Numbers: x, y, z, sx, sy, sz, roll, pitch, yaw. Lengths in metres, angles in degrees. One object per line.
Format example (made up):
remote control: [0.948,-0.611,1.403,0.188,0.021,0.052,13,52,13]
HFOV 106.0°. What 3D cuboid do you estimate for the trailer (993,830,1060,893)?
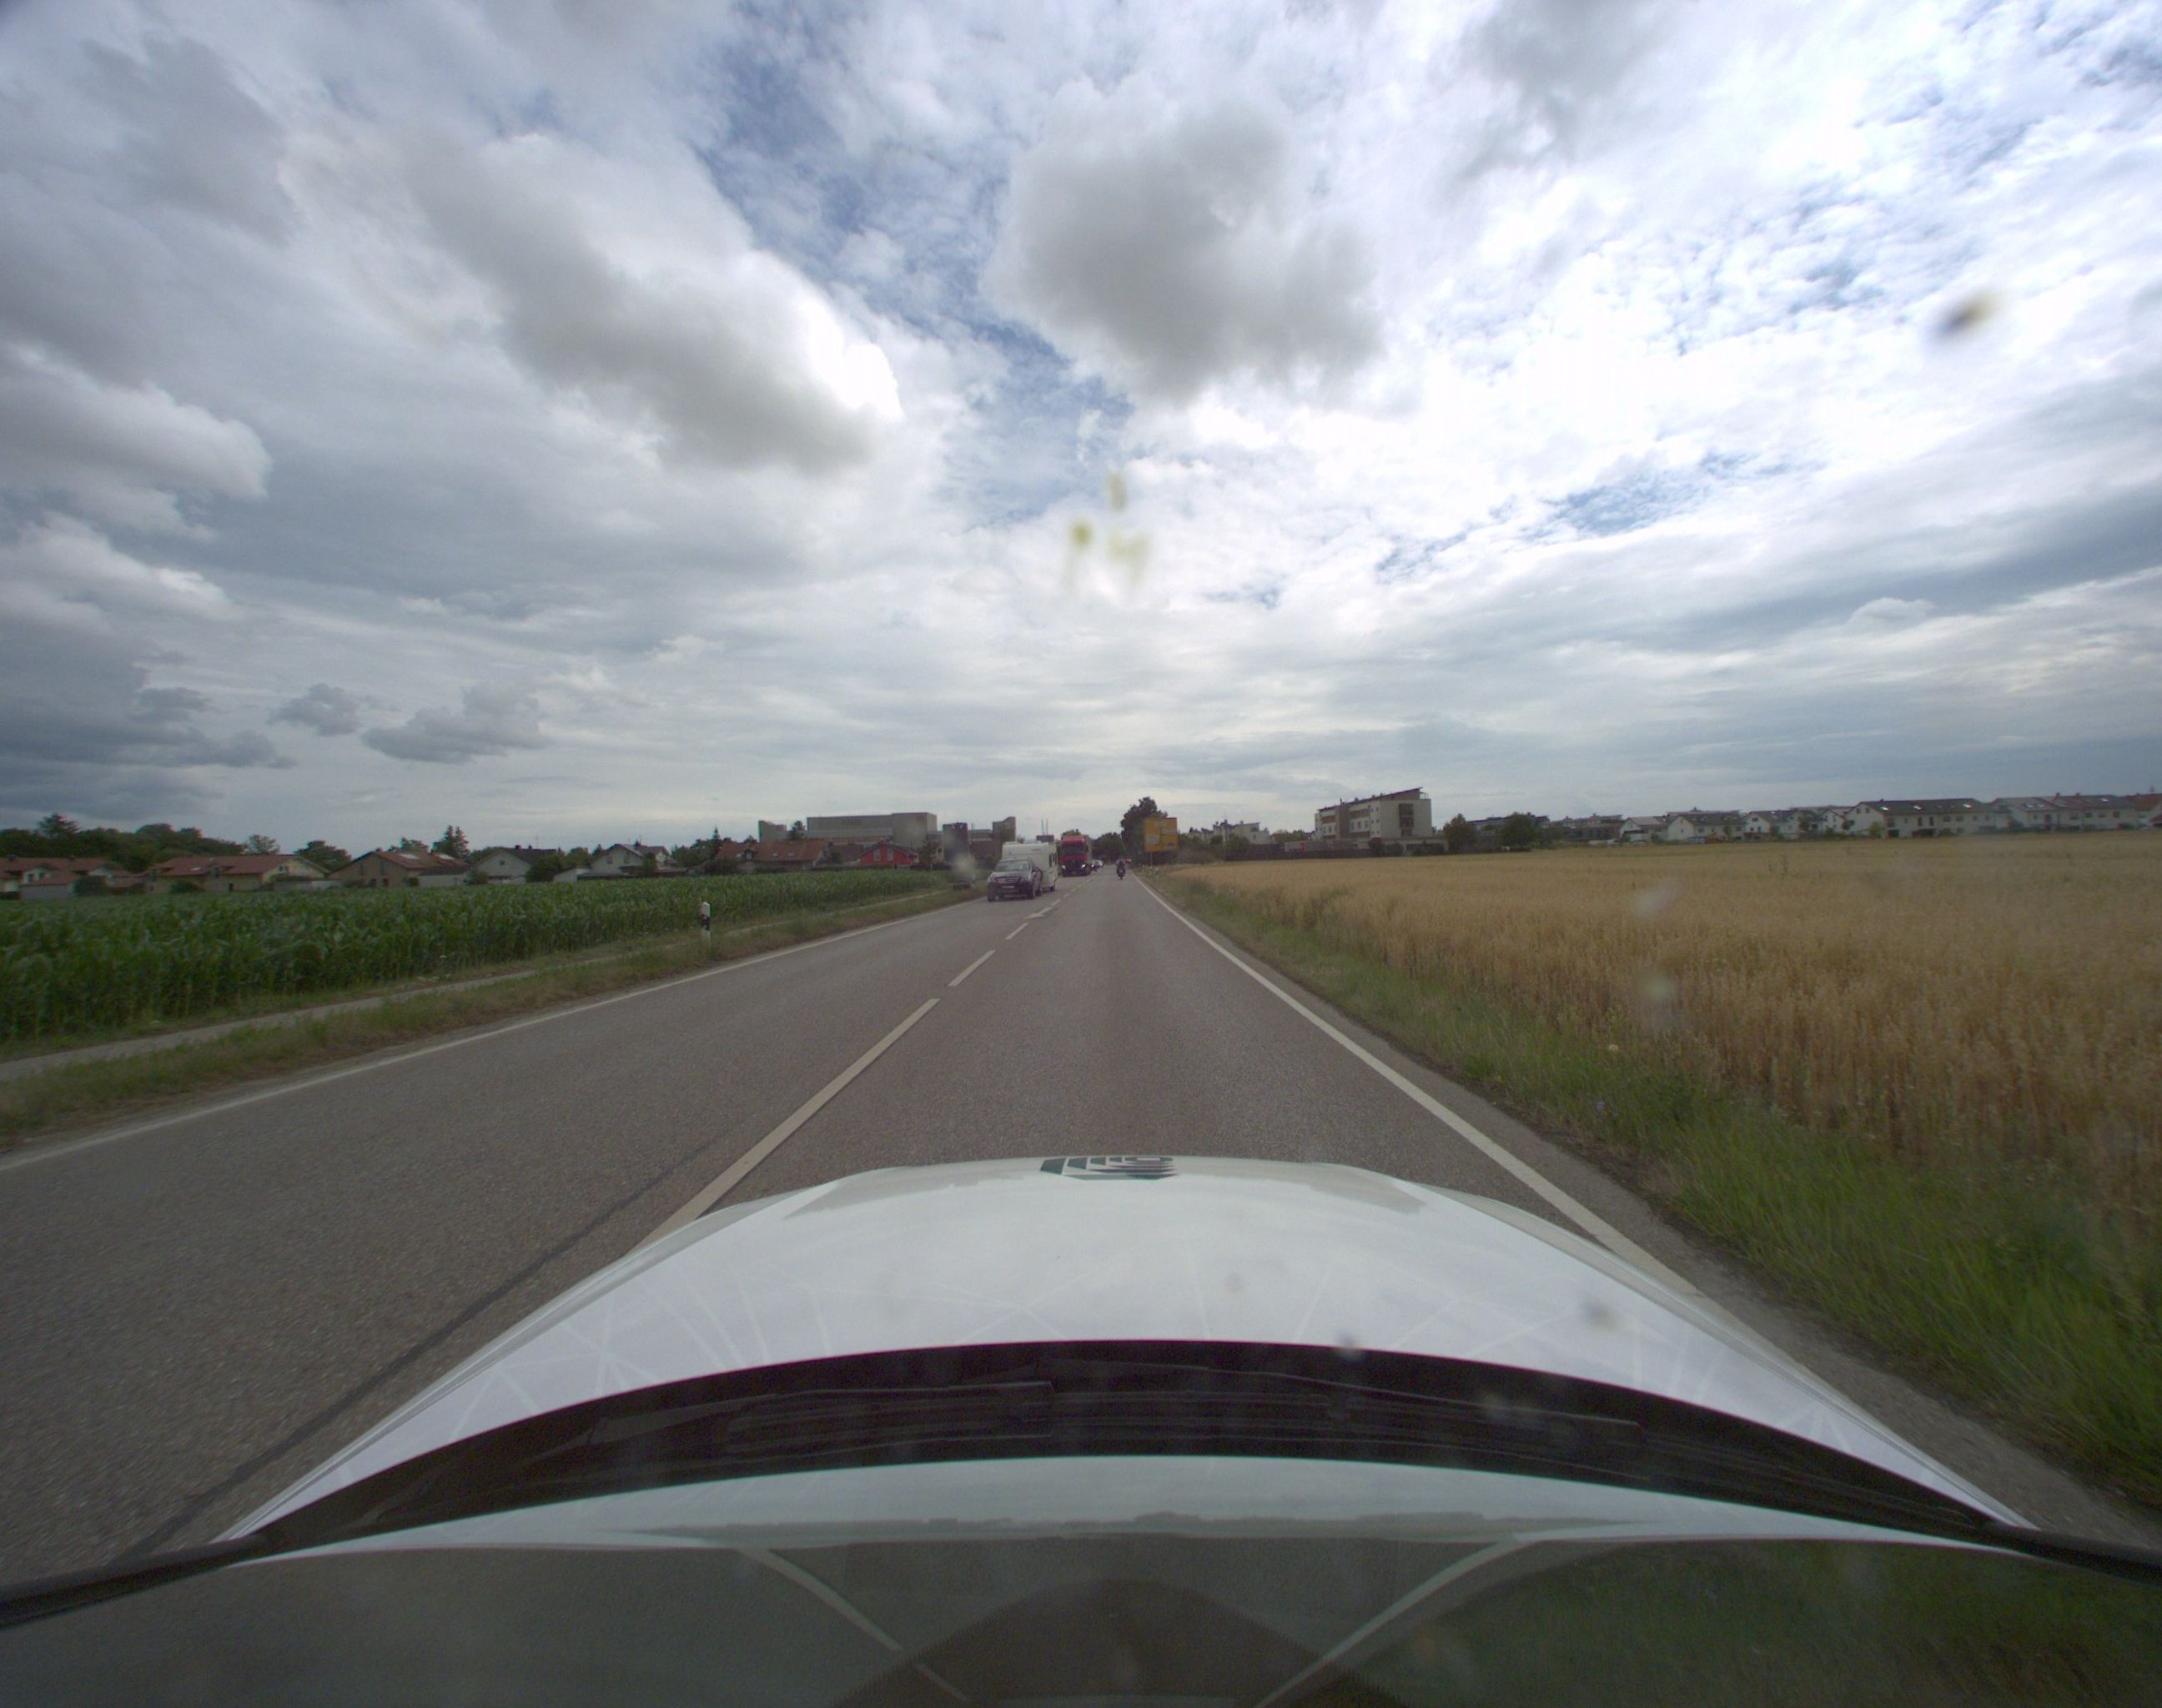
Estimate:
trailer: [-2.542,0.389,40.541,2.314,2.729,7.848,-2,-1,3]

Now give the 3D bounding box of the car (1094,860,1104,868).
car: [3.626,2.057,162.066,1.848,1.473,4.000,-2,-1,1]

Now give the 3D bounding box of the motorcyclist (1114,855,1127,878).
motorcyclist: [3.043,0.939,62.339,0.937,1.750,1.201,-2,-1,2]

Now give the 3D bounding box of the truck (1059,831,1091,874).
truck: [-0.547,-0.106,81.831,2.718,3.987,6.821,-2,-1,3]

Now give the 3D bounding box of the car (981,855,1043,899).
car: [-2.865,0.941,34.815,1.986,1.699,4.678,-2,-1,2]

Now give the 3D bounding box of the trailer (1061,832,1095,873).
trailer: [-0.208,-0.017,88.138,2.718,3.946,13.791,-2,-1,3]

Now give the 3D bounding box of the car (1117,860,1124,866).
car: [9.900,2.267,203.708,1.847,1.473,4.002,-2,-1,2]

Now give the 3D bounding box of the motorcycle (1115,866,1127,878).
motorcycle: [3.056,1.381,62.252,0.937,0.890,2.147,-2,-1,2]
